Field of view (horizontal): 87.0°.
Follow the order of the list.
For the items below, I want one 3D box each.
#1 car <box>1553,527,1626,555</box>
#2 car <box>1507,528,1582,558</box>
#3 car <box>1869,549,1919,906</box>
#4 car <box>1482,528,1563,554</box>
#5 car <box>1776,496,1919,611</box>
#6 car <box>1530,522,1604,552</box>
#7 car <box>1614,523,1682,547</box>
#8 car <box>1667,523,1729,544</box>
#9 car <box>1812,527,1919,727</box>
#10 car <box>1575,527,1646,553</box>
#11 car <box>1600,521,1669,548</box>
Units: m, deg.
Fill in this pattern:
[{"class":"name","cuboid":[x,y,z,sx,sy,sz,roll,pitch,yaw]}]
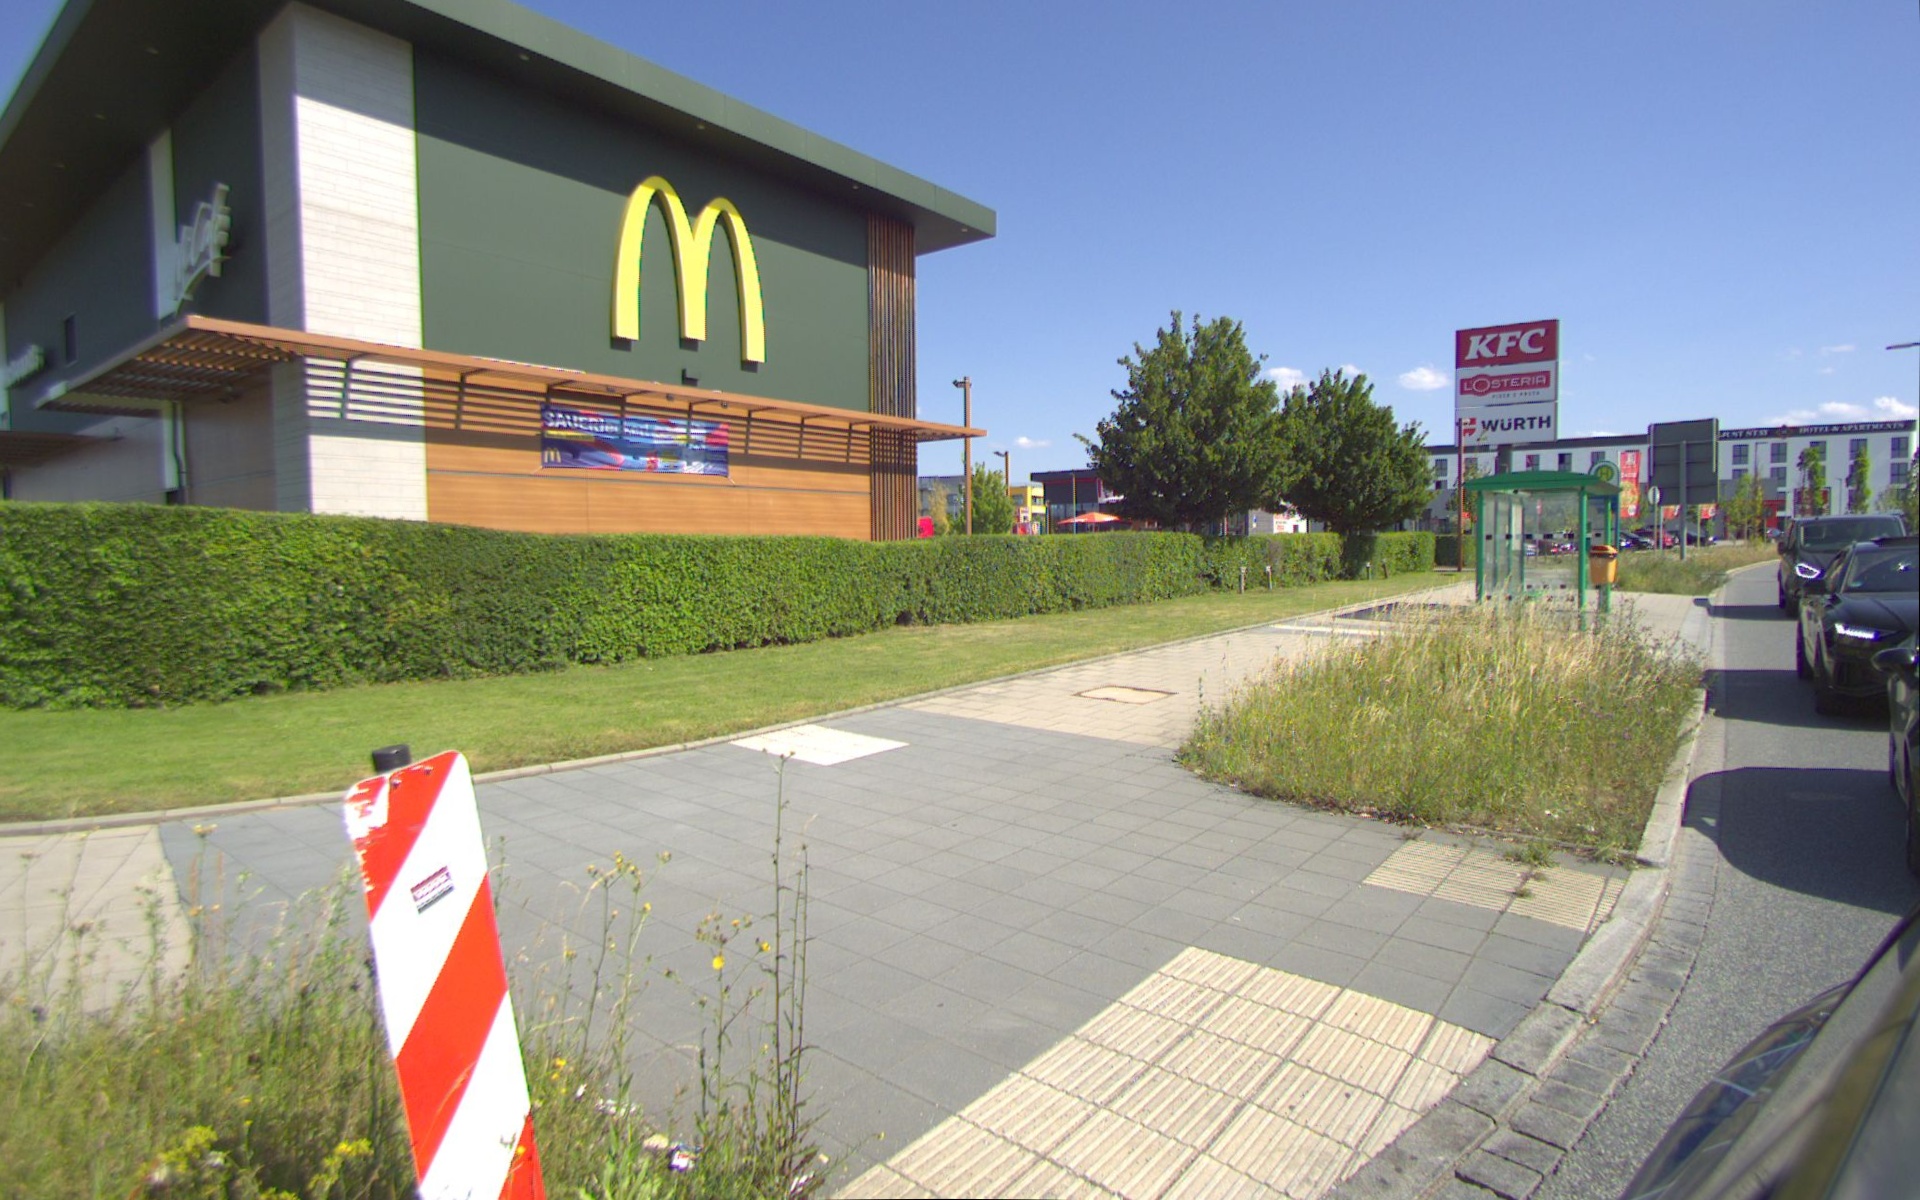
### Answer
[{"class":"car","cuboid":[46.960,-4.379,75.548,1.898,2.038,4.186,-3,4,-37]},{"class":"car","cuboid":[41.270,-4.029,71.575,1.898,2.038,4.187,-3,4,-36]},{"class":"car","cuboid":[5.993,0.499,5.179,1.857,1.486,3.938,2,4,44]},{"class":"car","cuboid":[37.981,-3.983,68.362,1.902,1.672,4.432,-4,4,-44]},{"class":"car","cuboid":[18.318,-0.979,20.919,2.071,2.073,4.616,-2,2,41]},{"class":"car","cuboid":[43.902,-4.535,73.243,1.898,2.038,4.186,-3,4,-37]},{"class":"car","cuboid":[55.539,-5.241,81.772,1.789,1.783,4.189,-3,3,-34]},{"class":"car","cuboid":[61.529,-5.520,84.390,1.725,1.639,3.823,-3,4,-37]},{"class":"car","cuboid":[9.784,0.129,10.131,1.855,1.709,3.943,-2,2,41]},{"class":"car","cuboid":[49.143,-4.528,76.499,1.768,1.880,4.190,-3,3,-33]},{"class":"car","cuboid":[53.044,-5.146,79.657,1.899,2.038,4.184,-3,4,-38]}]
